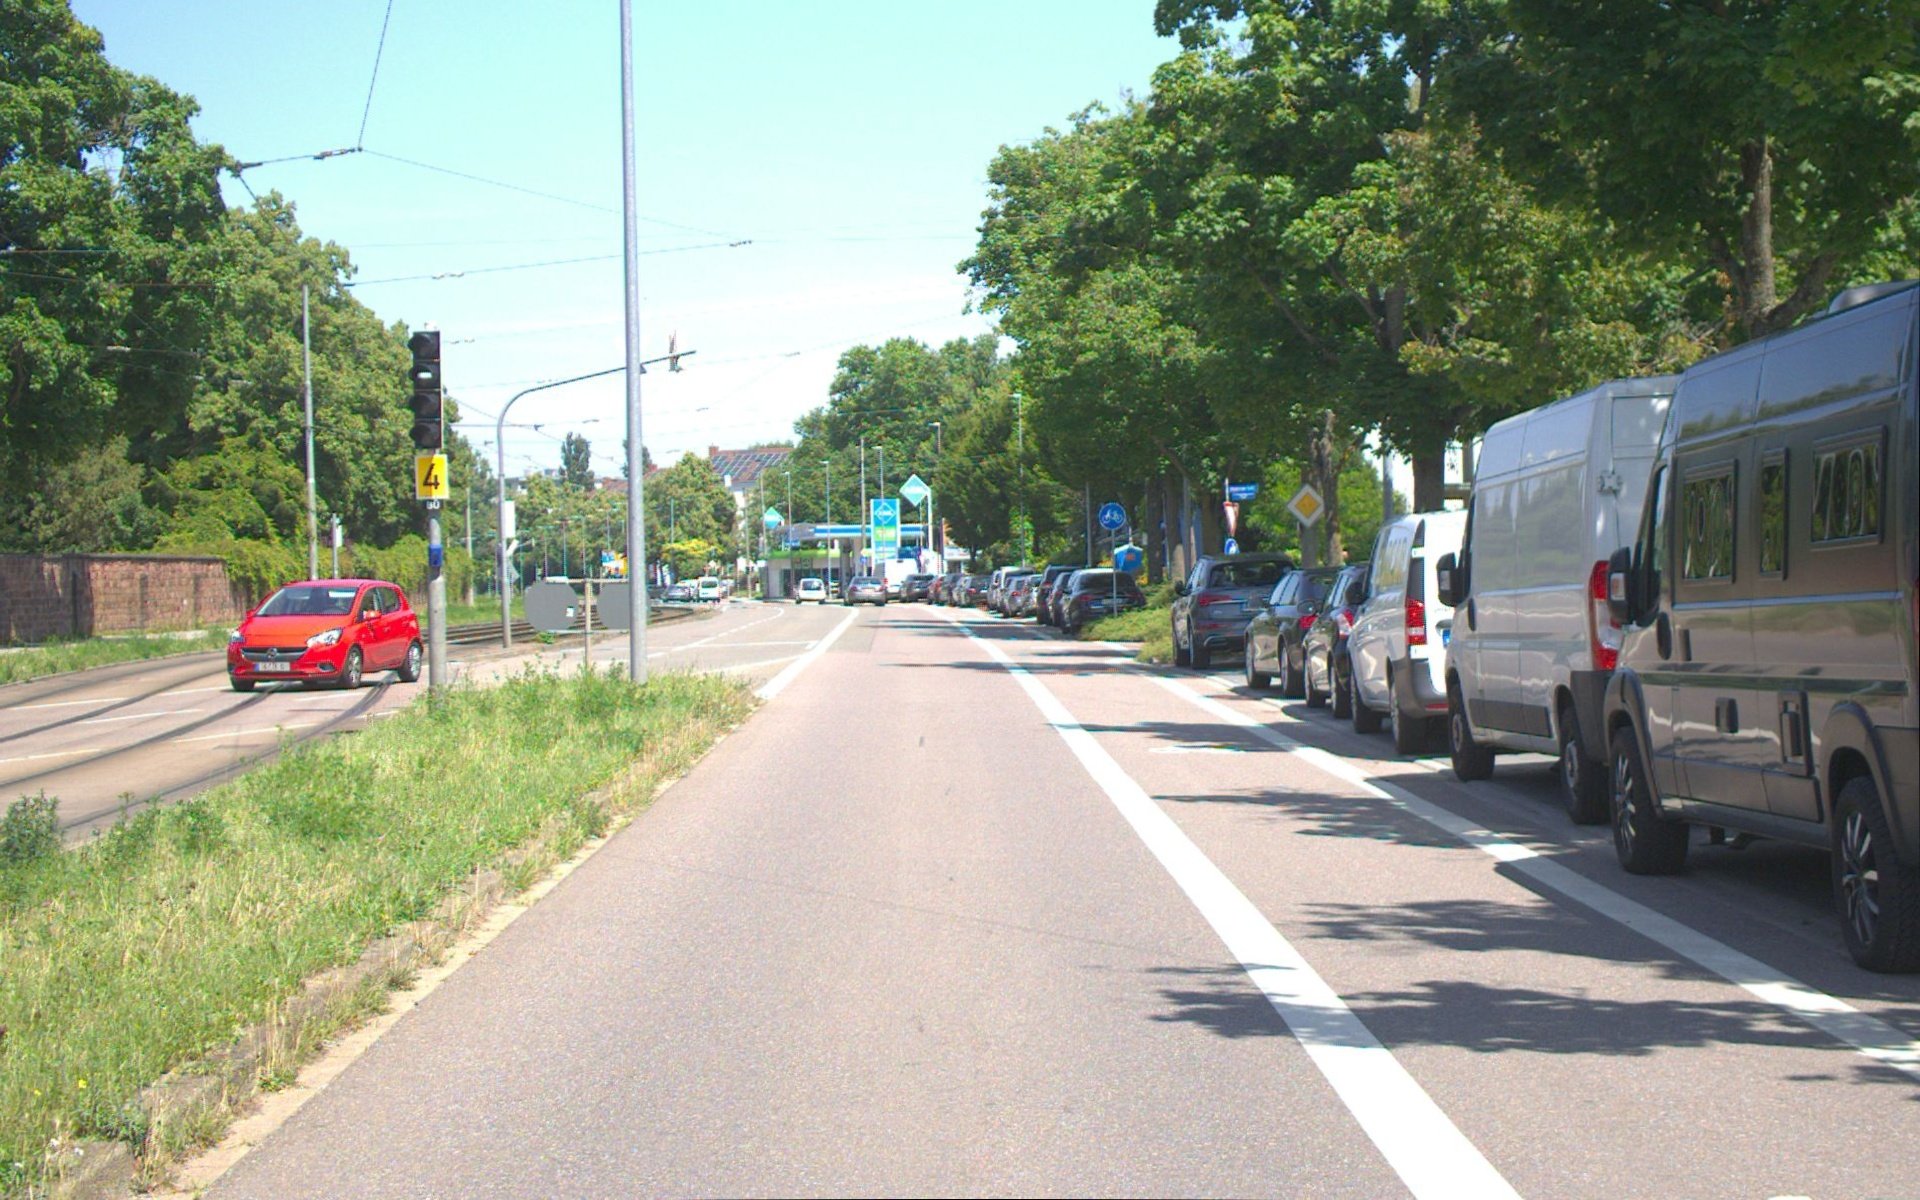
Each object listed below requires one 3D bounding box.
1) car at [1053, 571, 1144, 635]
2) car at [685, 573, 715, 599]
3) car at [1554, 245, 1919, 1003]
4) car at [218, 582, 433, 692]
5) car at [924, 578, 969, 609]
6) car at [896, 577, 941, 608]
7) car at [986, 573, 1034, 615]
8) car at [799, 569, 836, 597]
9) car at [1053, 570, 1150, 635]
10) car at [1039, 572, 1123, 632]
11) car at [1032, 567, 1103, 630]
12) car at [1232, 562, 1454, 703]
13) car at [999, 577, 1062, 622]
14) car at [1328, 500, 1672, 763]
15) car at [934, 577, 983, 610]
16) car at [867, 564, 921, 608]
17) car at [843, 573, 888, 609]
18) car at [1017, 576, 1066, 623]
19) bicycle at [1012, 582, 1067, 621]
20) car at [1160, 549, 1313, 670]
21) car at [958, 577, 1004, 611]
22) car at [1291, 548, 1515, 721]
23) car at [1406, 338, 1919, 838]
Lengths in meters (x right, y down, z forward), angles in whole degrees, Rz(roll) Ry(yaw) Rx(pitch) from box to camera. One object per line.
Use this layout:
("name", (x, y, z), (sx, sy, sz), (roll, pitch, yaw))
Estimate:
("car", (3.566, 0.058, 89.148), (1.840, 1.524, 4.206), (-3, 1, -4))
("car", (-19.758, -1.068, 261.185), (1.755, 1.868, 4.325), (-3, 1, -10))
("car", (4.220, 0.014, 14.868), (1.997, 2.627, 6.079), (-3, 1, -1))
("car", (-8.665, 0.473, 47.296), (1.707, 1.409, 4.280), (0, 1, 7))
("car", (-0.742, -0.359, 182.355), (1.706, 1.557, 4.325), (-3, 1, -9))
("car", (-2.334, -0.418, 192.312), (1.755, 1.625, 4.325), (-3, 1, -10))
("car", (2.147, -0.275, 148.432), (1.840, 1.688, 4.778), (-3, 1, -1))
("car", (-8.724, -1.018, 210.078), (1.755, 1.625, 4.325), (-3, 1, -8))
("car", (3.373, 0.037, 82.746), (1.840, 1.431, 4.825), (-3, 1, -3))
("car", (3.305, 0.029, 94.714), (1.840, 1.524, 4.354), (-3, 1, -3))
("car", (3.111, -0.056, 100.348), (1.840, 1.700, 4.626), (-3, 1, 0))
("car", (4.285, 0.328, 39.137), (1.712, 1.413, 4.709), (-3, 1, -3))
("car", (2.572, -0.045, 127.272), (1.840, 1.524, 4.966), (-3, 1, -4))
("car", (4.343, 0.209, 28.509), (1.997, 1.872, 5.276), (-3, 1, 1))
("car", (-0.101, -0.343, 176.446), (1.706, 1.557, 4.325), (-3, 1, -10))
("car", (-3.917, -0.803, 202.411), (2.000, 2.448, 6.111), (-3, 1, -11))
("car", (-4.619, -0.453, 167.473), (1.755, 1.625, 4.325), (-3, 1, -6))
("car", (2.897, -0.029, 122.268), (1.519, 1.524, 3.817), (-3, 1, -1))
("bicycle", (2.783, 0.048, 120.228), (1.774, 1.224, 0.683), (-5, 0, 4))
("car", (4.061, 0.149, 51.112), (1.712, 1.627, 4.708), (-3, 0, -1))
("car", (0.996, -0.292, 165.277), (1.706, 1.487, 5.039), (-3, 1, -5))
("car", (4.347, 0.301, 34.234), (1.712, 1.535, 3.840), (-3, 1, 1))
("car", (4.355, -0.098, 21.806), (1.997, 2.627, 6.143), (-3, 1, -1))
